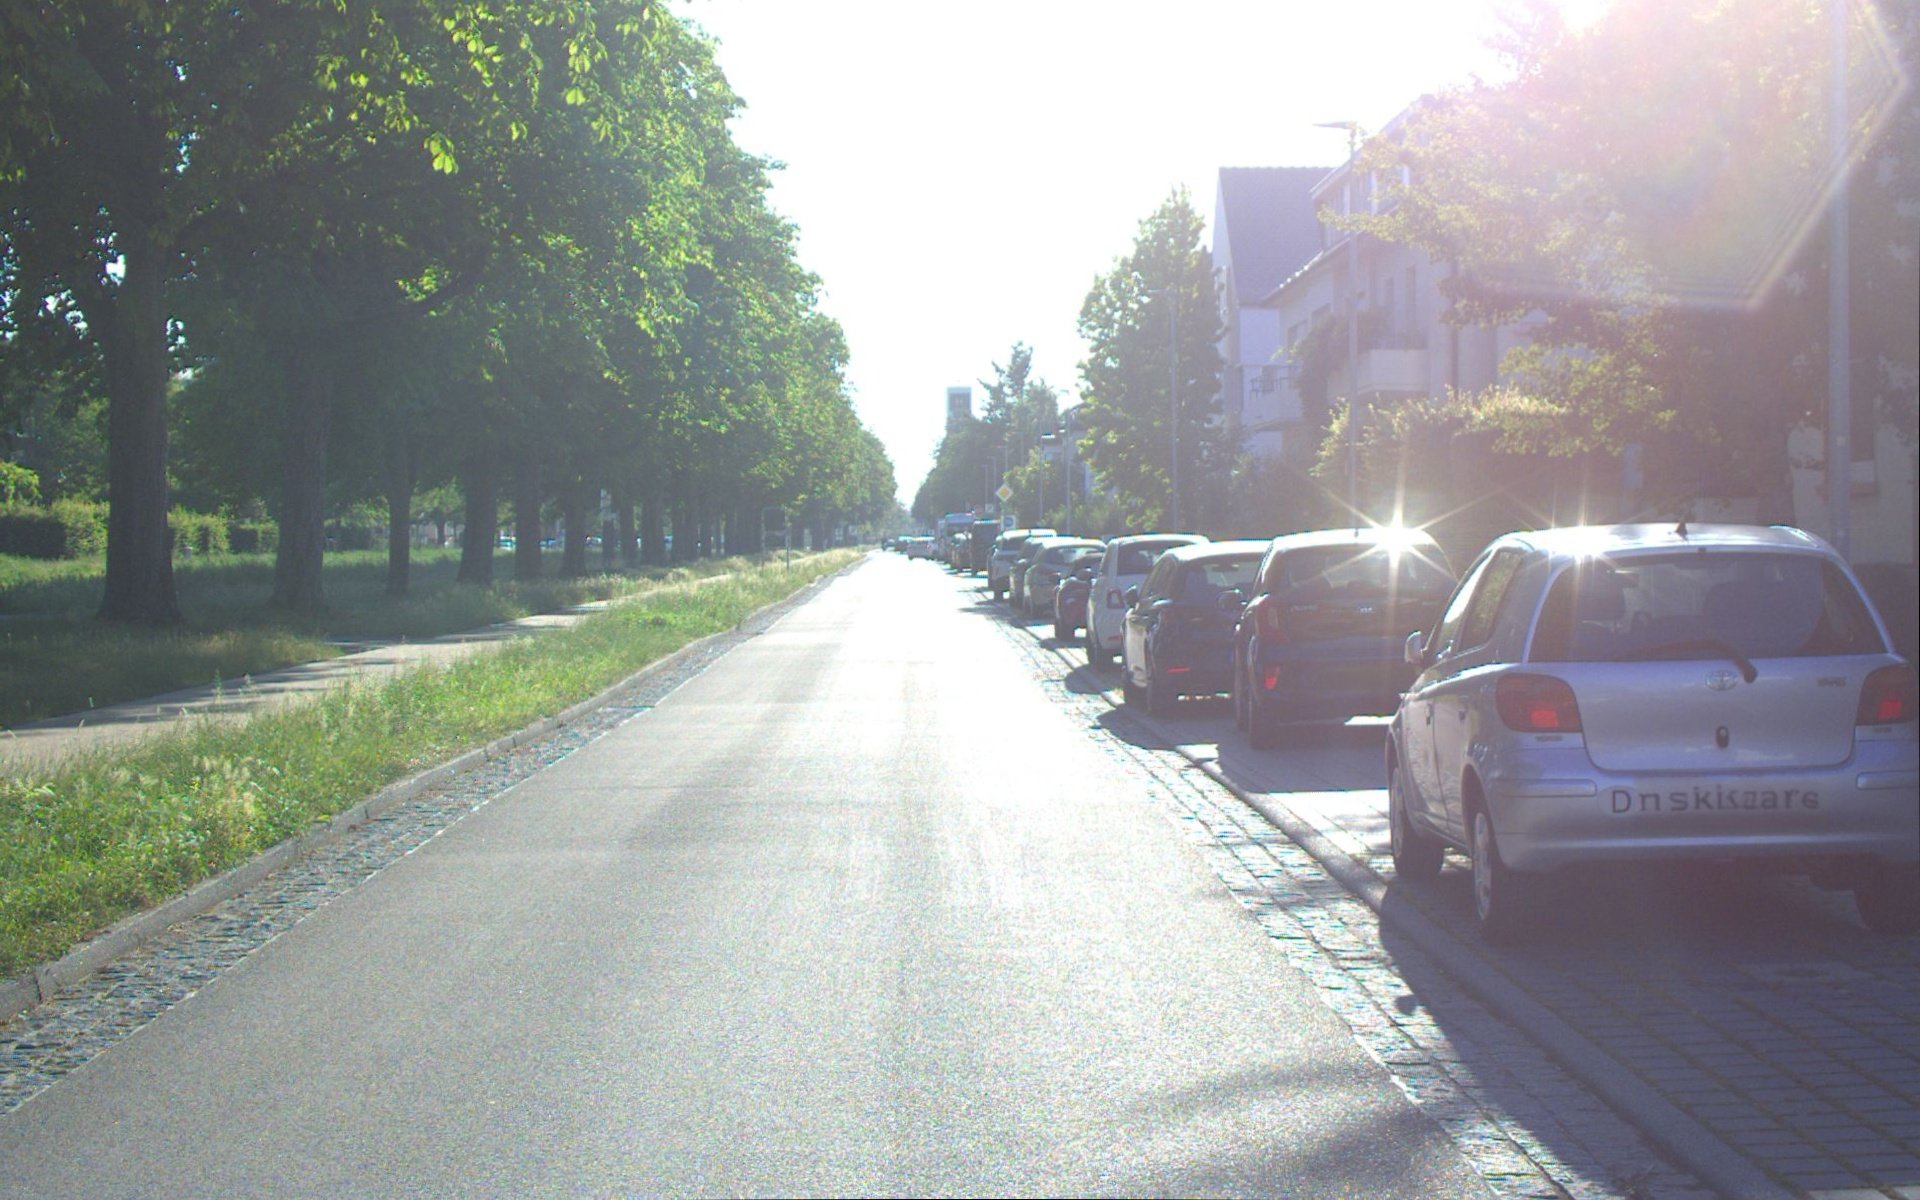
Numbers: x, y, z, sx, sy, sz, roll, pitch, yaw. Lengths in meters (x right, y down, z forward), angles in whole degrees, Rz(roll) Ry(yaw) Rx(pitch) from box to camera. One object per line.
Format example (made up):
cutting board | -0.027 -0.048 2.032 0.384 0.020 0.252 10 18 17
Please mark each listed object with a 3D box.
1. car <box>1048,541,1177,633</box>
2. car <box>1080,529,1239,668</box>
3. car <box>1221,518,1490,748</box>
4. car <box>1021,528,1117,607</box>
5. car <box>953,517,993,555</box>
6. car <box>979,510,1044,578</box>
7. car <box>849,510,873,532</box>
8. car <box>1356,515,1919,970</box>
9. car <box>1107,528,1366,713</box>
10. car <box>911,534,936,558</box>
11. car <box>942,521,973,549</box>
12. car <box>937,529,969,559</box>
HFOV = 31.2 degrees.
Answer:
car | 2.151 -0.215 49.299 1.693 1.244 3.497 -1 1 0
car | 2.242 -0.053 39.422 1.592 1.504 3.592 -1 1 0
car | 2.782 0.191 24.829 1.658 1.488 3.716 -2 1 3
car | 1.977 -0.608 63.069 1.652 1.391 3.267 -1 1 0
car | 0.535 -2.680 143.581 1.652 1.536 3.267 1 1 0
car | 1.203 -1.337 81.796 1.498 1.561 3.267 -1 1 0
car | -7.287 -5.814 253.474 1.652 1.536 3.267 1 1 -1
car | 2.632 0.451 13.741 1.627 1.499 3.633 -2 2 0
car | 2.339 0.144 30.055 1.736 1.444 4.197 -2 1 -2
car | -2.392 -3.515 224.904 1.652 1.536 3.267 1 1 -1
car | -0.128 -3.555 187.846 1.652 1.536 3.267 1 1 0
car | -0.373 -2.978 182.436 1.652 1.536 3.267 1 1 0
